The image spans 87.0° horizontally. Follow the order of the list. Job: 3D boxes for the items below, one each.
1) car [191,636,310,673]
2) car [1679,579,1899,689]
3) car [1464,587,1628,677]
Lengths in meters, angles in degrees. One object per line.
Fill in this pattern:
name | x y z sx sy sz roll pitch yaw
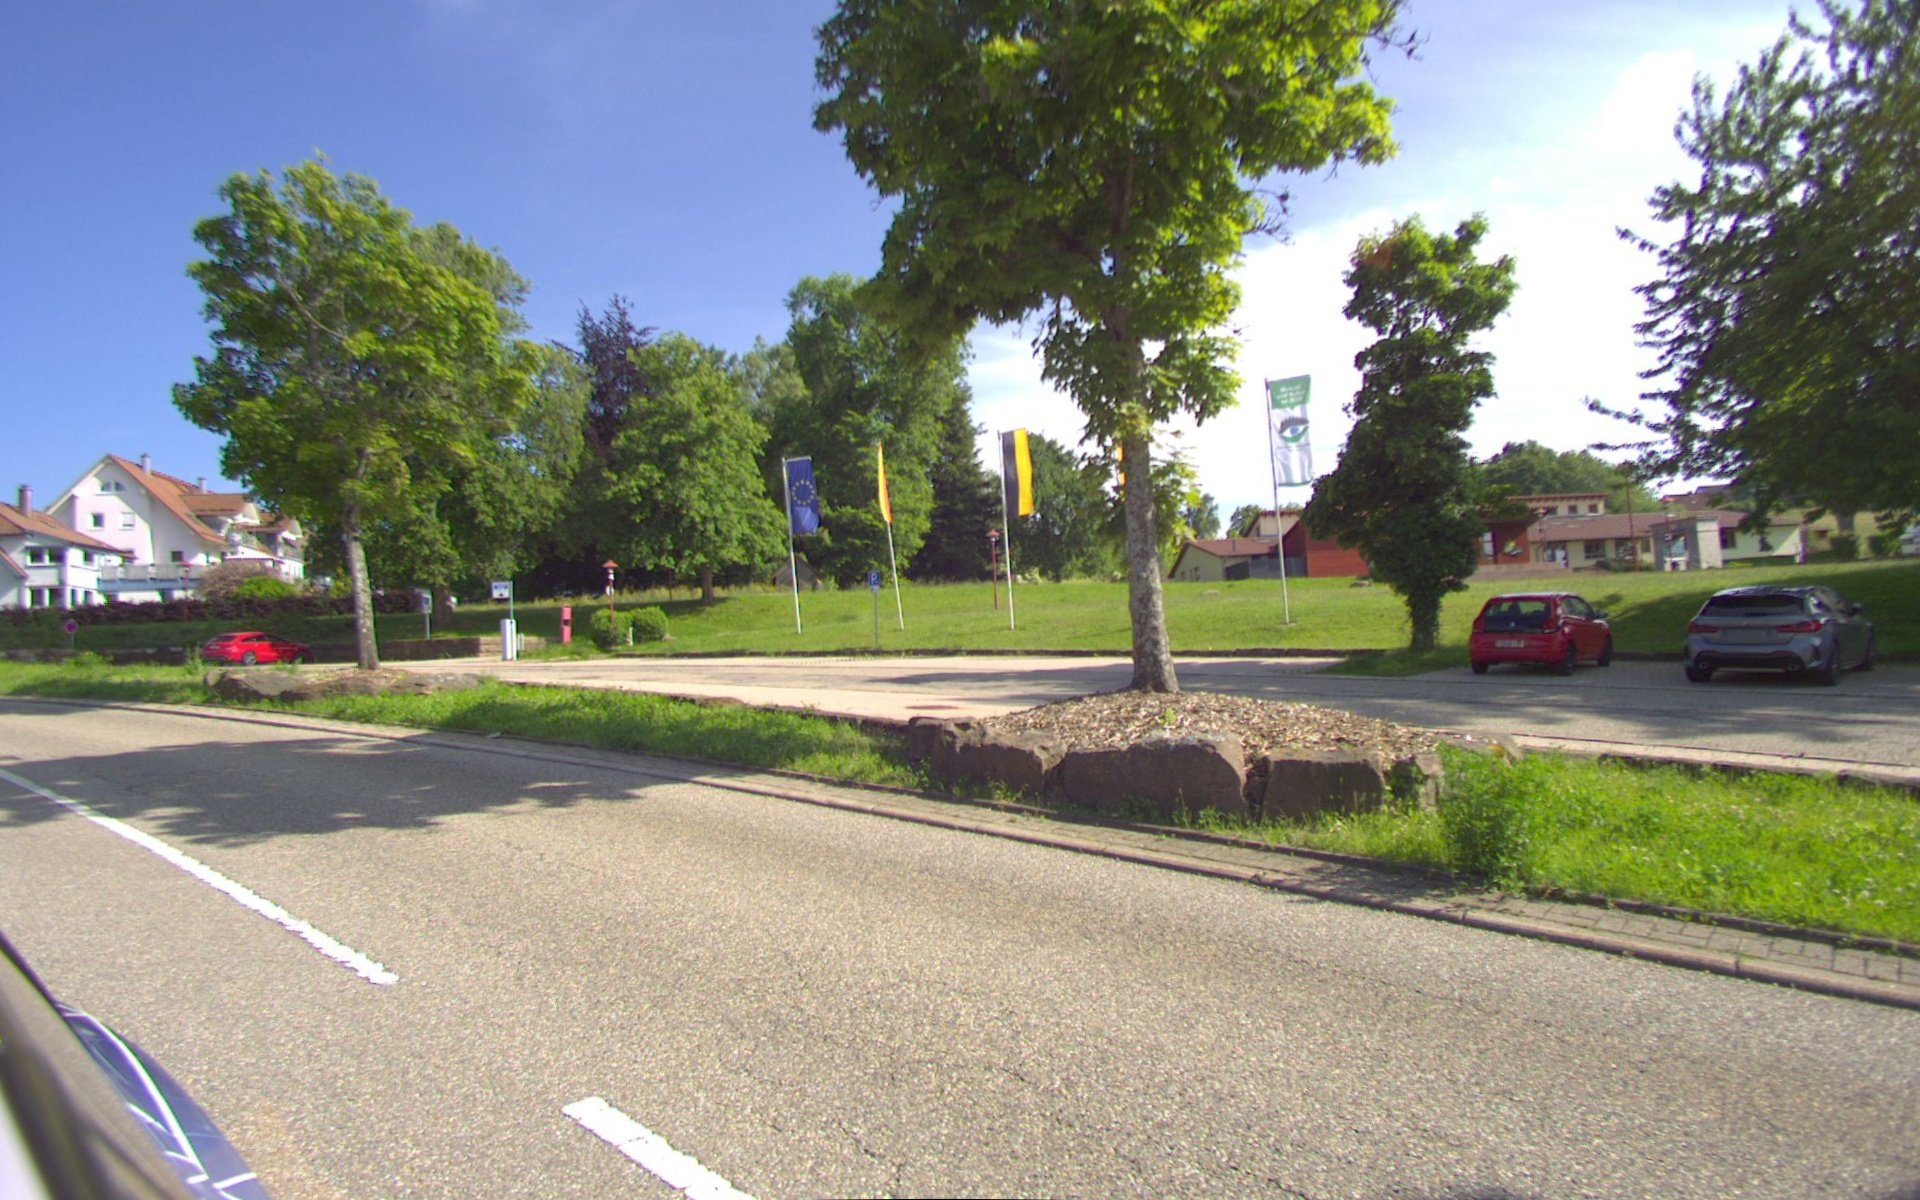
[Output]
car | -30.747 2.345 44.029 1.804 1.409 4.225 -2 -2 10
car | 12.772 0.453 15.535 3.653 1.444 1.780 -2 0 -37
car | 10.935 0.555 18.830 3.160 1.481 1.778 -2 0 -43
